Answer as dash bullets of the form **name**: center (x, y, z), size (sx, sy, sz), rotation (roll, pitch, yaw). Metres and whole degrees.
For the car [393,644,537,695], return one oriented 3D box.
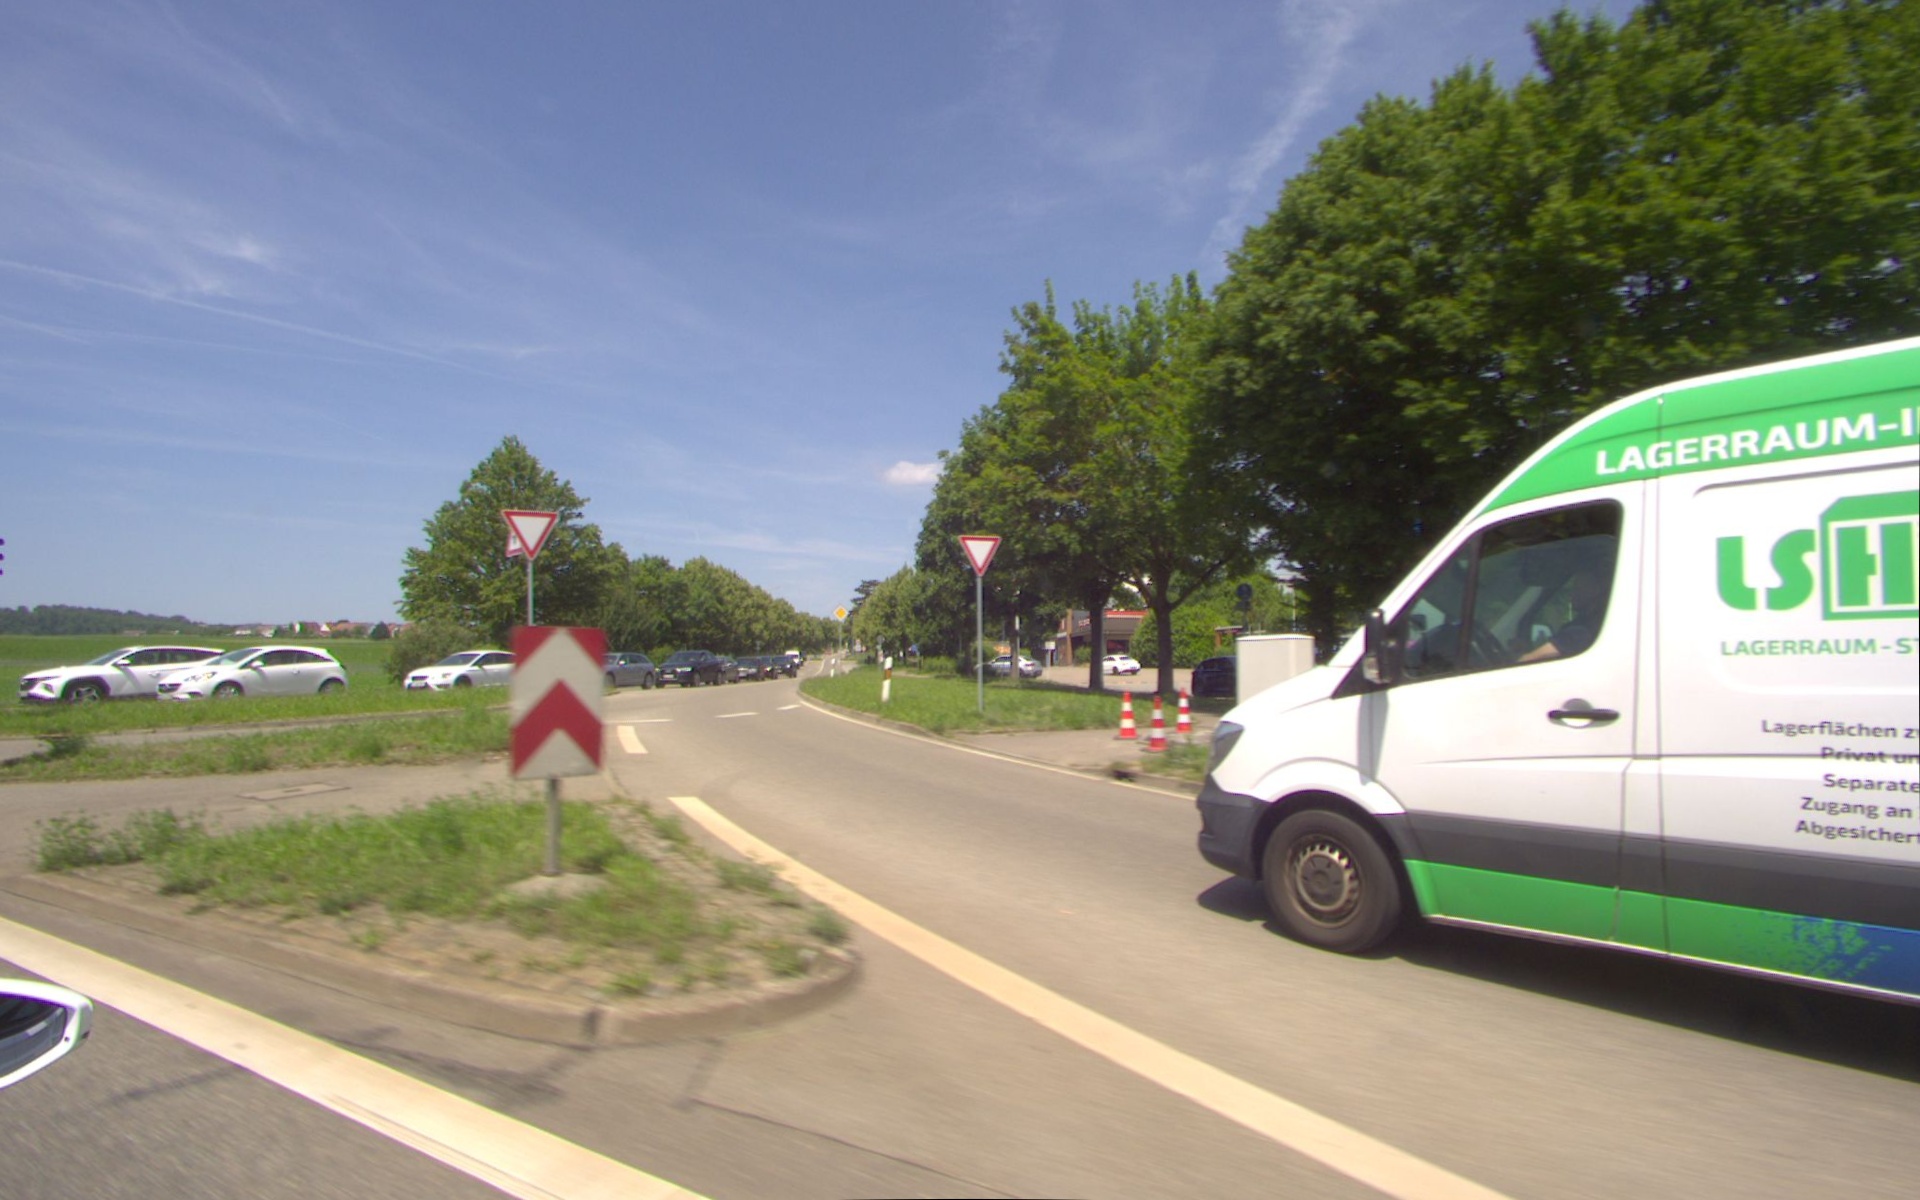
- **car**: center (-15.389, 2.129, 31.368), size (1.768, 1.436, 4.103), rotation (-2, -3, 15)

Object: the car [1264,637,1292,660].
- **car**: center (26.818, 4.071, 84.293), size (1.809, 1.861, 3.990), rotation (-2, -2, 24)

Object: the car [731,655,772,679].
- **car**: center (-11.829, 3.797, 57.044), size (1.766, 1.288, 4.565), rotation (-1, -4, -5)

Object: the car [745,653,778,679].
- **car**: center (-12.343, 4.137, 62.564), size (1.766, 1.528, 4.235), rotation (-1, -3, -8)

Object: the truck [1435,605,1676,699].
- **truck**: center (18.471, 1.641, 31.461), size (2.234, 2.650, 6.113), rotation (2, -4, -34)

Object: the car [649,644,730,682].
- **car**: center (-11.751, 2.800, 43.784), size (1.766, 1.528, 4.567), rotation (-2, -5, 8)

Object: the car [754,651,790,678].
- **car**: center (-12.879, 4.437, 68.733), size (1.961, 1.718, 4.295), rotation (-1, -3, -5)

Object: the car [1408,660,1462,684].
- **car**: center (29.727, 4.479, 62.777), size (1.694, 1.397, 3.844), rotation (-1, -3, 3)

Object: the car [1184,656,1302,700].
- **car**: center (9.681, 2.682, 34.592), size (1.730, 1.379, 4.314), rotation (0, -3, -20)

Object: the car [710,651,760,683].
- **car**: center (-11.397, 3.412, 51.027), size (1.766, 1.528, 4.566), rotation (-1, -3, -4)

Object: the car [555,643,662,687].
- **car**: center (-13.193, 2.455, 37.893), size (1.767, 1.528, 4.564), rotation (-2, -4, 10)

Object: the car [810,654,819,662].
- **car**: center (-30.703, 12.222, 211.566), size (1.962, 1.669, 4.002), rotation (-1, -3, -8)

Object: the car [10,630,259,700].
- **car**: center (-21.375, 1.709, 26.158), size (1.969, 1.626, 4.624), rotation (-3, -5, 29)

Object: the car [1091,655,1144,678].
- **car**: center (11.670, 4.963, 74.546), size (1.846, 1.578, 4.492), rotation (0, -3, -21)

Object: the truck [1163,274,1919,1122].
- **truck**: center (3.882, 0.367, 3.986), size (2.054, 2.770, 5.886), rotation (4, -4, -43)

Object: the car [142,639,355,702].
- **car**: center (-17.498, 1.704, 24.845), size (1.799, 1.436, 3.961), rotation (-3, -3, 25)

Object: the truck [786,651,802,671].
- **truck**: center (-22.905, 8.417, 138.081), size (1.962, 2.630, 4.002), rotation (-1, -3, -8)
